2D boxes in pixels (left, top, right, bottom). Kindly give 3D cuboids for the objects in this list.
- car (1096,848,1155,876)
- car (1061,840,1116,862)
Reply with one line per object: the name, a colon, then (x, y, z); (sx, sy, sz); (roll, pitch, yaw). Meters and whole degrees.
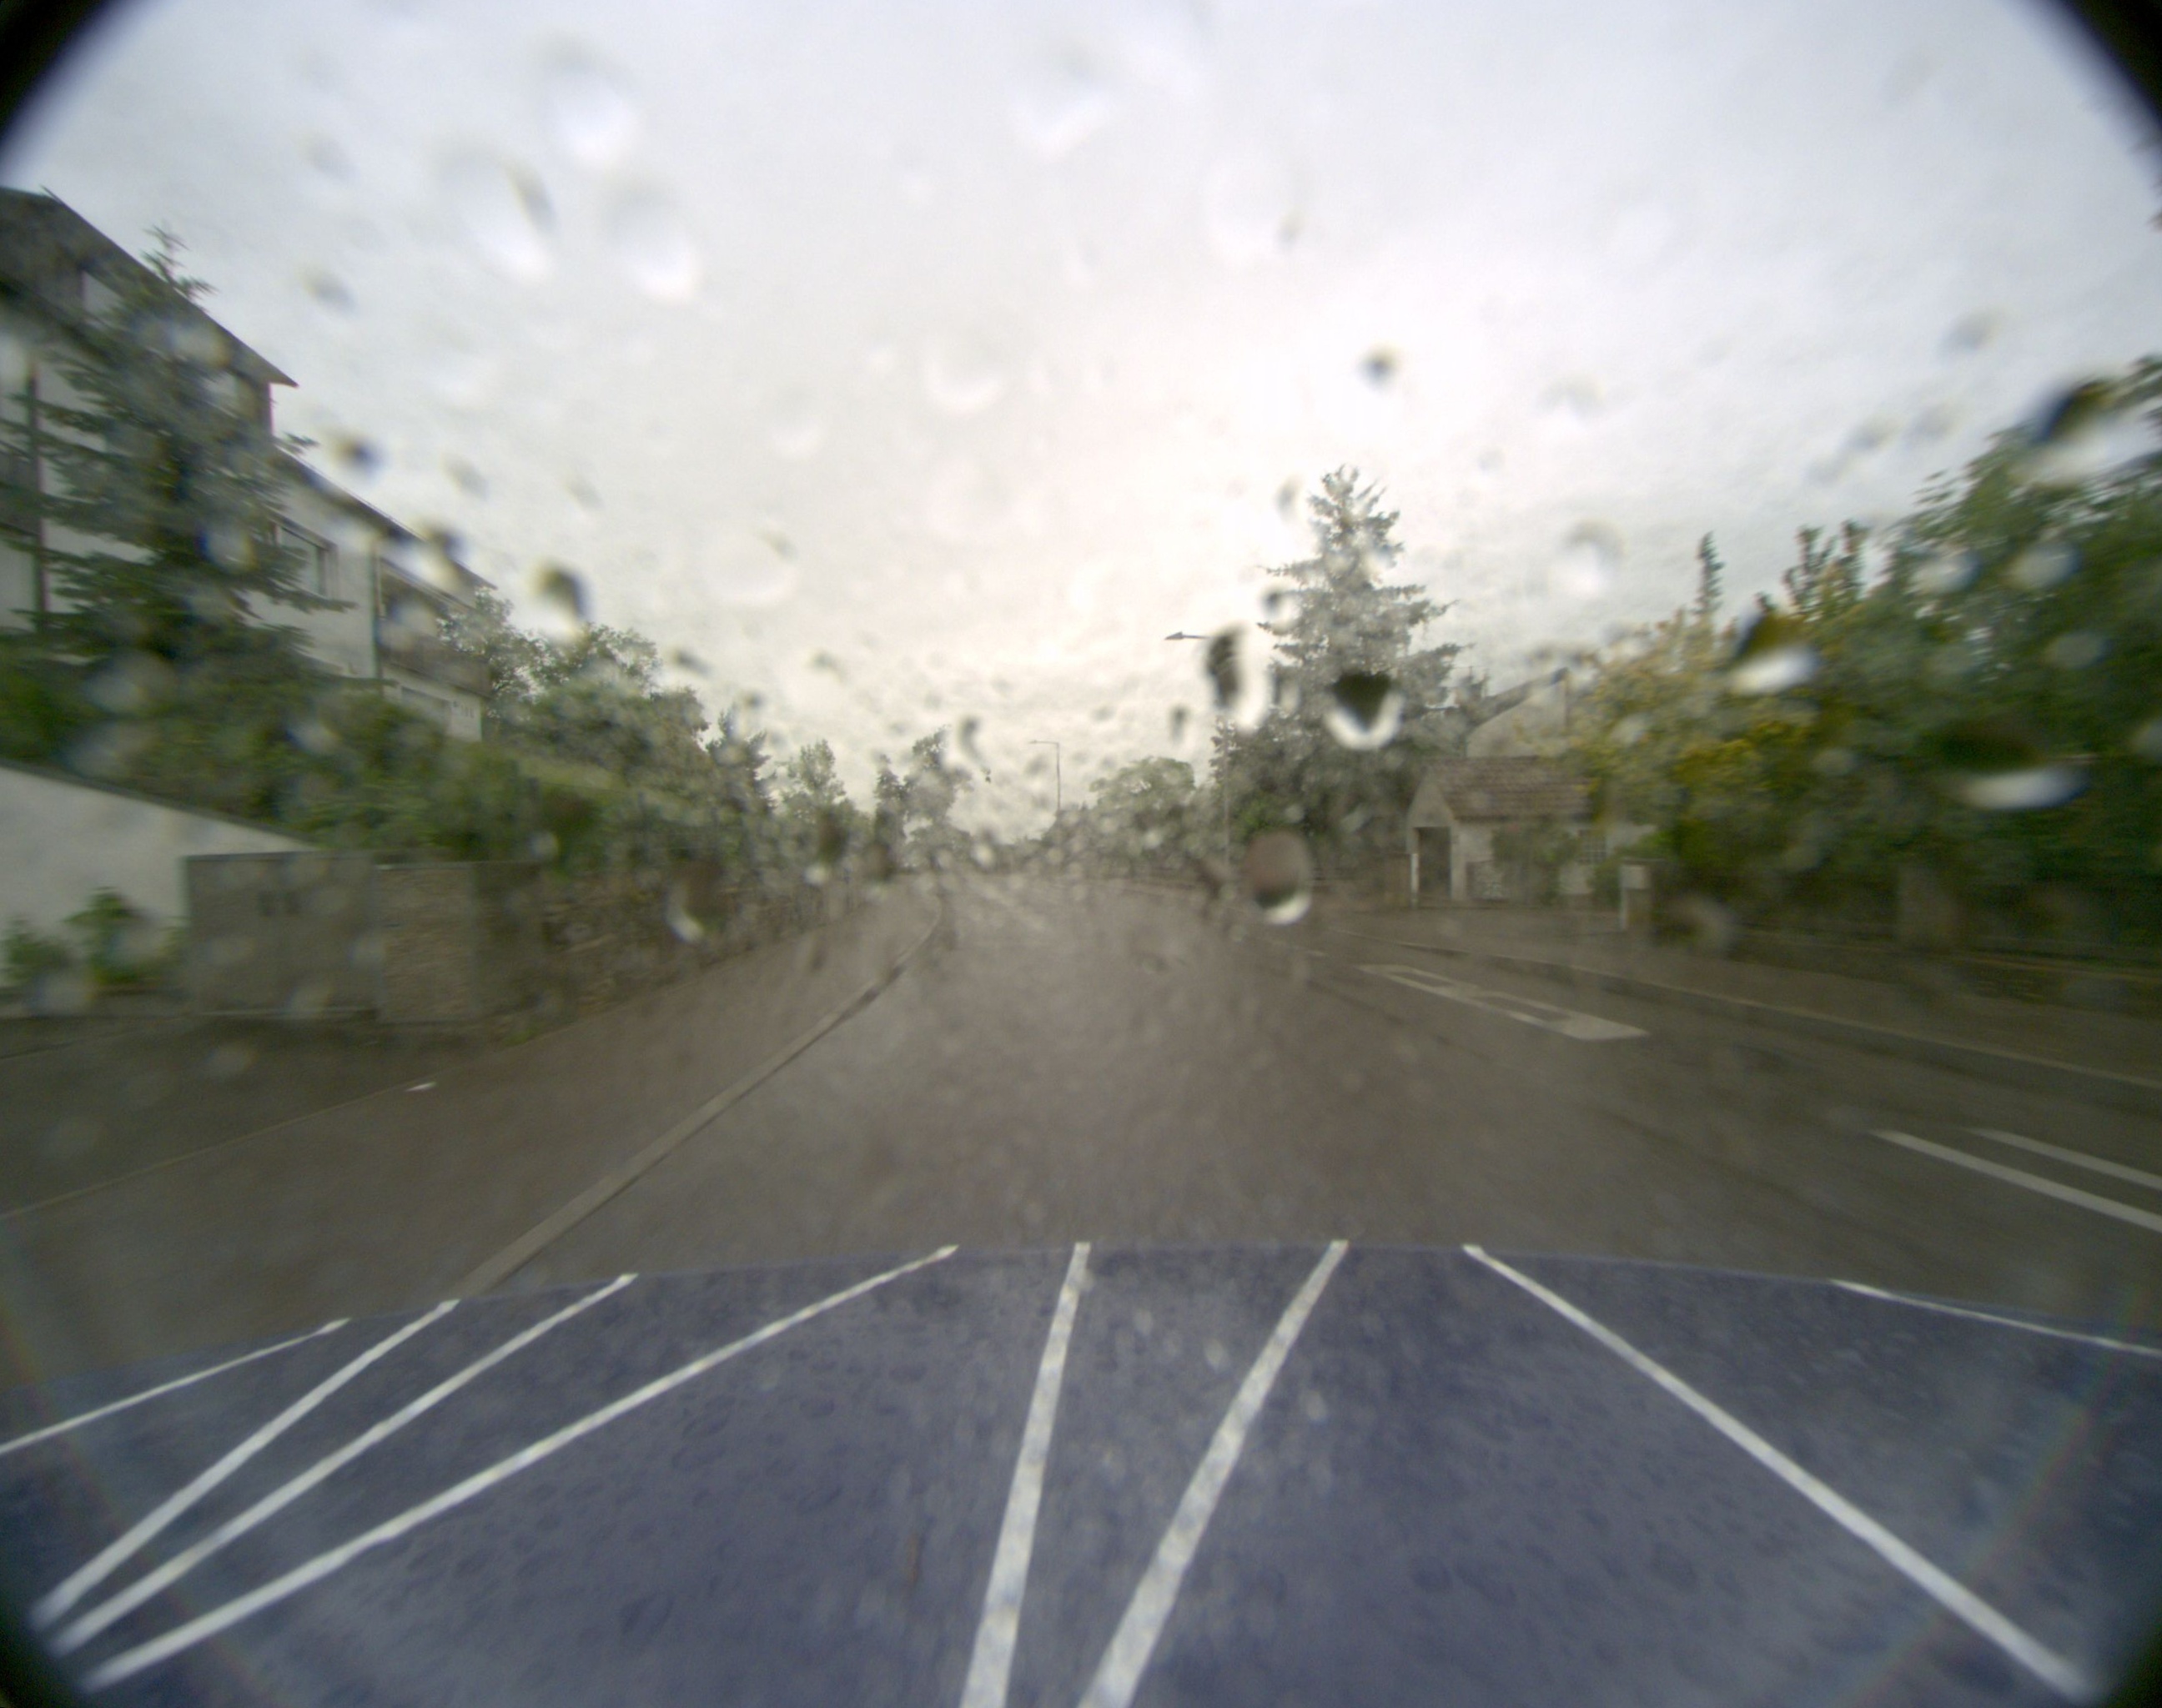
car: (2.527, 0.427, 42.823); (3.035, 1.471, 1.456); (-1, 0, 13)
car: (0.533, -0.208, 52.593); (3.739, 1.471, 1.455); (-1, 0, 4)
